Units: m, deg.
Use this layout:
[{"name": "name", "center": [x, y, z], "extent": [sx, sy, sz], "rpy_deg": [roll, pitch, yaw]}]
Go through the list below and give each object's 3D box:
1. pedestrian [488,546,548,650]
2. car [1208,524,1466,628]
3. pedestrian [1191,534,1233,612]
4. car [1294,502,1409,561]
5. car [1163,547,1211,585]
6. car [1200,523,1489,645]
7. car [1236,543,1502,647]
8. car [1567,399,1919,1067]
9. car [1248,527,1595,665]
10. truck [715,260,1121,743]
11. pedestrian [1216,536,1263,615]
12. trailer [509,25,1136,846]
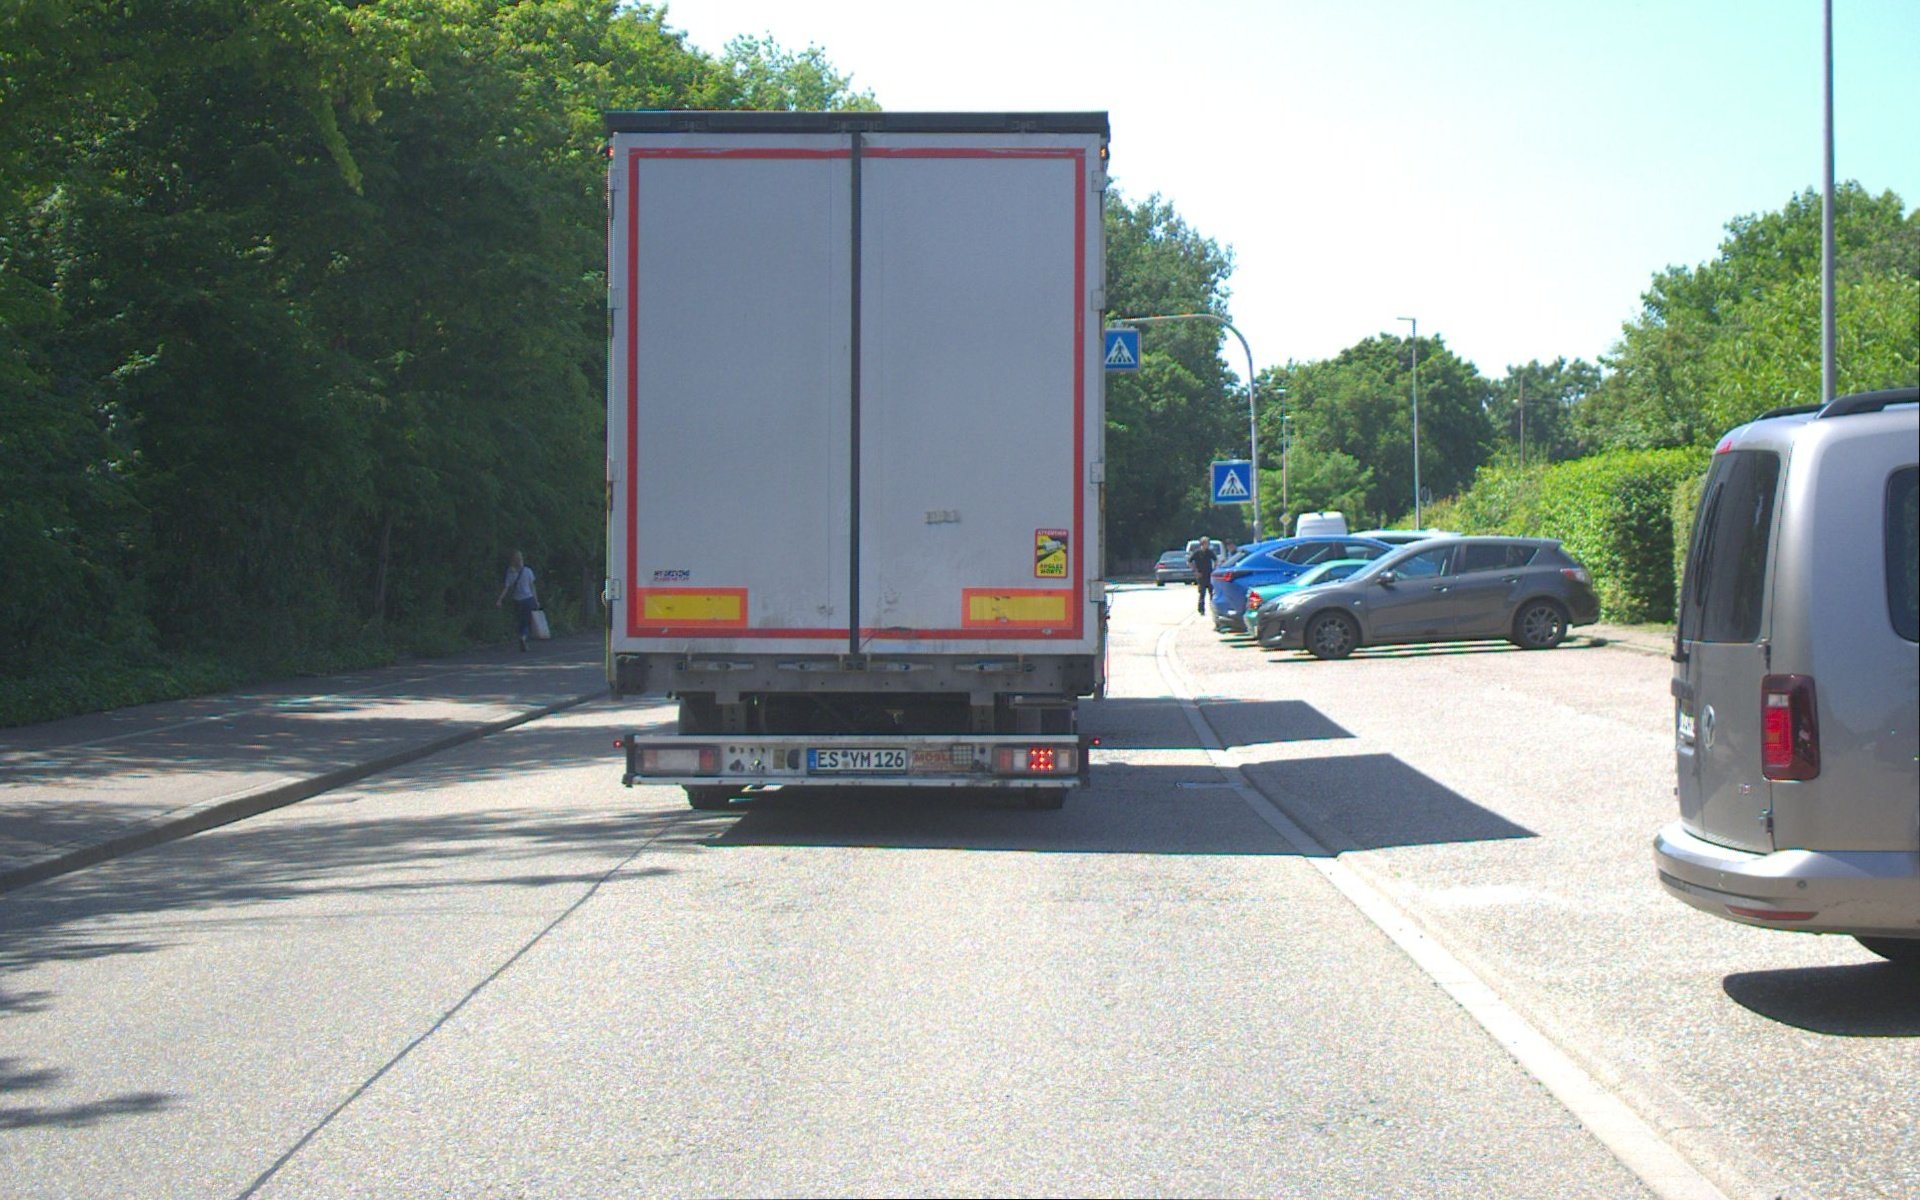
[{"name": "pedestrian", "center": [-6.972, -0.044, 54.265], "extent": [0.828, 1.617, 0.783], "rpy_deg": [1, 1, 1]}, {"name": "car", "center": [6.452, -0.399, 59.177], "extent": [4.236, 1.648, 1.899], "rpy_deg": [-2, -1, 2]}, {"name": "pedestrian", "center": [6.040, -0.652, 82.475], "extent": [0.822, 1.828, 0.792], "rpy_deg": [-4, 0, 9]}, {"name": "car", "center": [14.070, -2.468, 123.641], "extent": [3.957, 1.792, 1.813], "rpy_deg": [-4, -2, 7]}, {"name": "car", "center": [9.096, -1.369, 138.034], "extent": [1.781, 1.481, 4.000], "rpy_deg": [0, 1, 2]}, {"name": "car", "center": [5.899, -0.253, 53.139], "extent": [4.238, 1.628, 1.823], "rpy_deg": [-3, 1, 2]}, {"name": "car", "center": [5.961, -0.075, 50.374], "extent": [3.735, 1.264, 1.627], "rpy_deg": [-3, 0, 4]}, {"name": "car", "center": [4.424, 0.201, 10.681], "extent": [4.621, 1.842, 1.996], "rpy_deg": [-5, 1, 1]}, {"name": "car", "center": [5.871, -0.054, 44.134], "extent": [4.164, 1.490, 1.882], "rpy_deg": [-3, 0, 2]}, {"name": "truck", "center": [-0.238, -0.813, 29.944], "extent": [3.114, 3.712, 6.413], "rpy_deg": [-1, 1, 2]}, {"name": "pedestrian", "center": [6.546, -0.573, 80.450], "extent": [0.908, 1.792, 0.935], "rpy_deg": [-4, 0, 9]}, {"name": "trailer", "center": [-0.470, -0.916, 23.085], "extent": [3.113, 4.088, 11.536], "rpy_deg": [-1, 1, 2]}]
